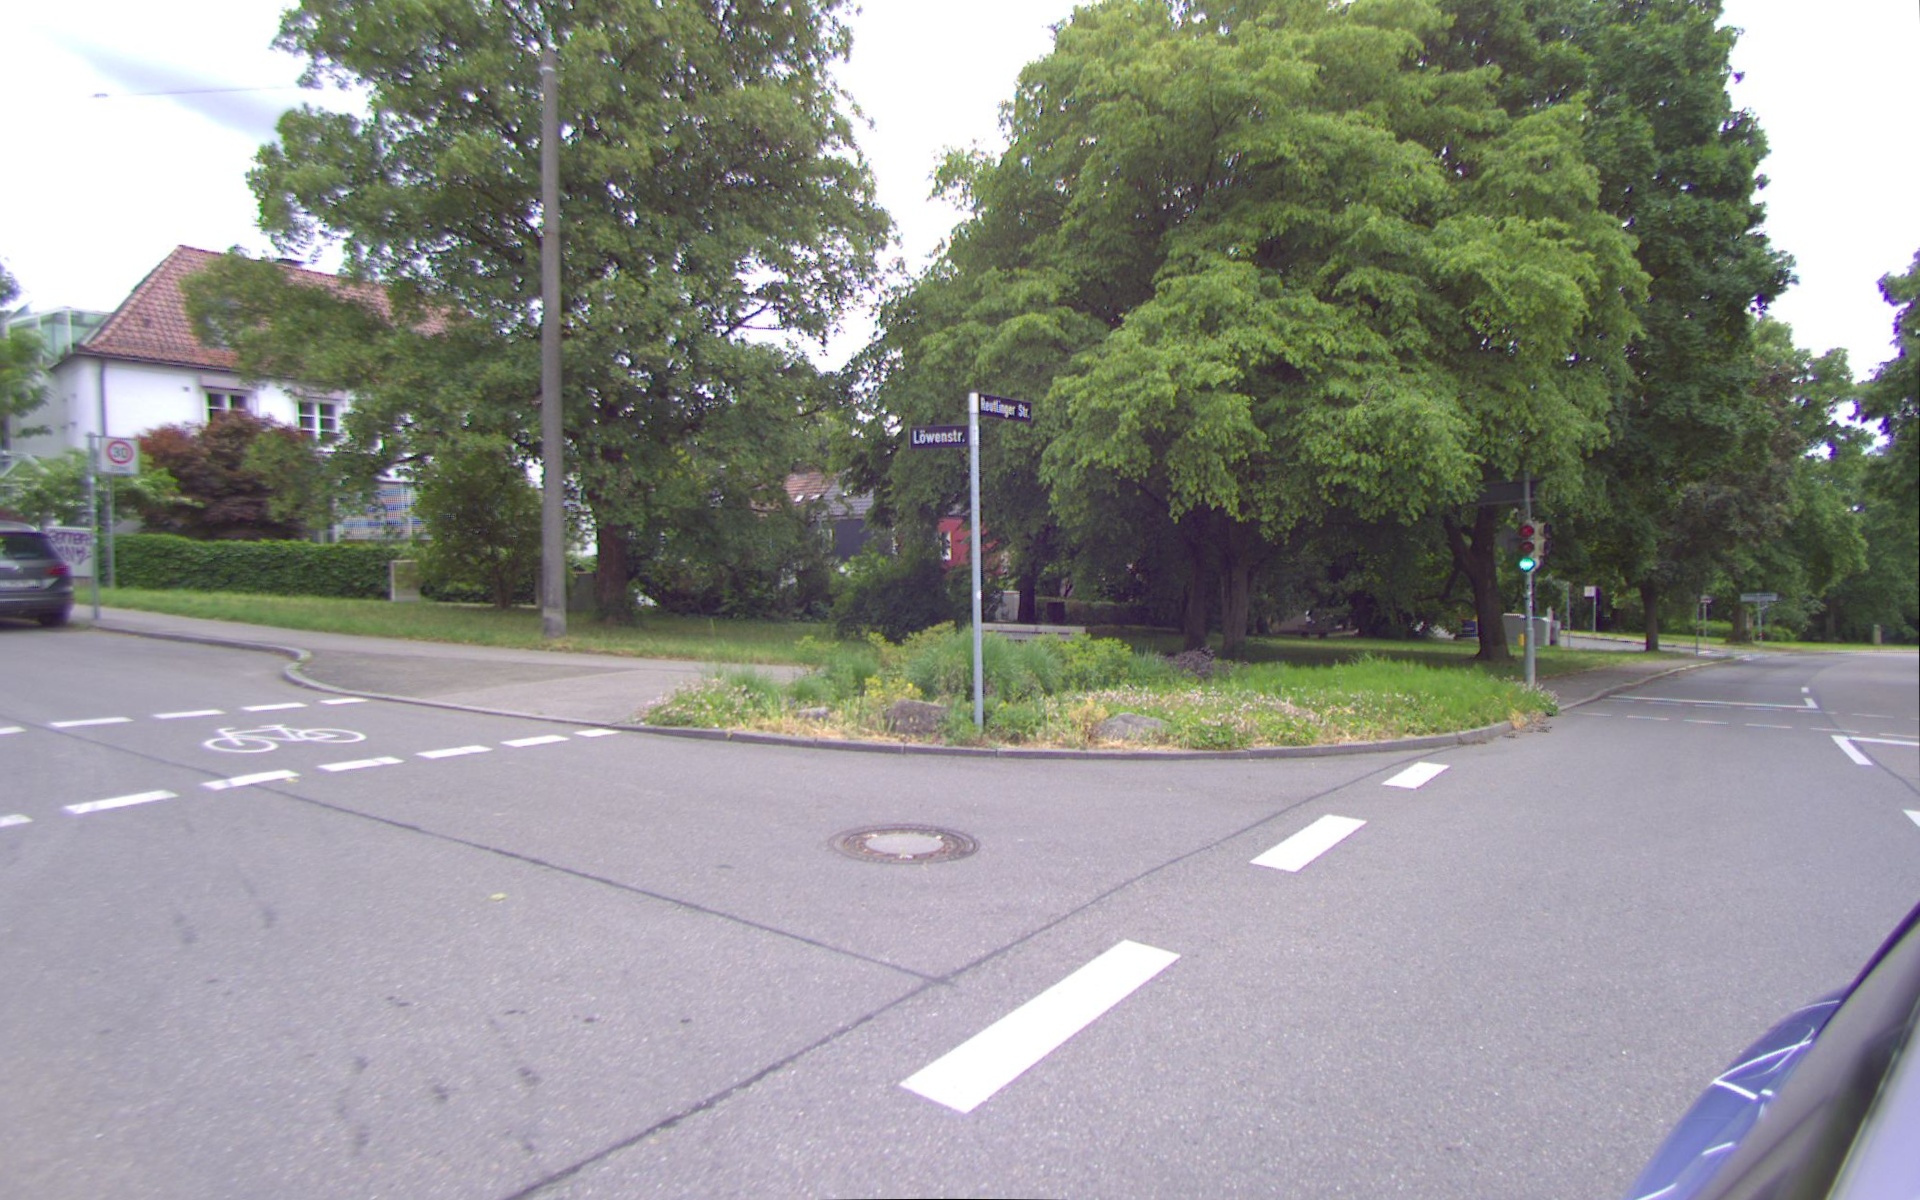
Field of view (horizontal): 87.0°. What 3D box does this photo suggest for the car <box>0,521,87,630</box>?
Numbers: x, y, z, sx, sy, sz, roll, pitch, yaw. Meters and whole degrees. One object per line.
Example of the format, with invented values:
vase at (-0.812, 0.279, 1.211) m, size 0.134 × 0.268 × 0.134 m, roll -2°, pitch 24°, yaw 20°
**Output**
car at (-15.591, -0.448, 15.501) m, size 3.955 × 1.555 × 1.810 m, roll 3°, pitch 3°, yaw 23°
